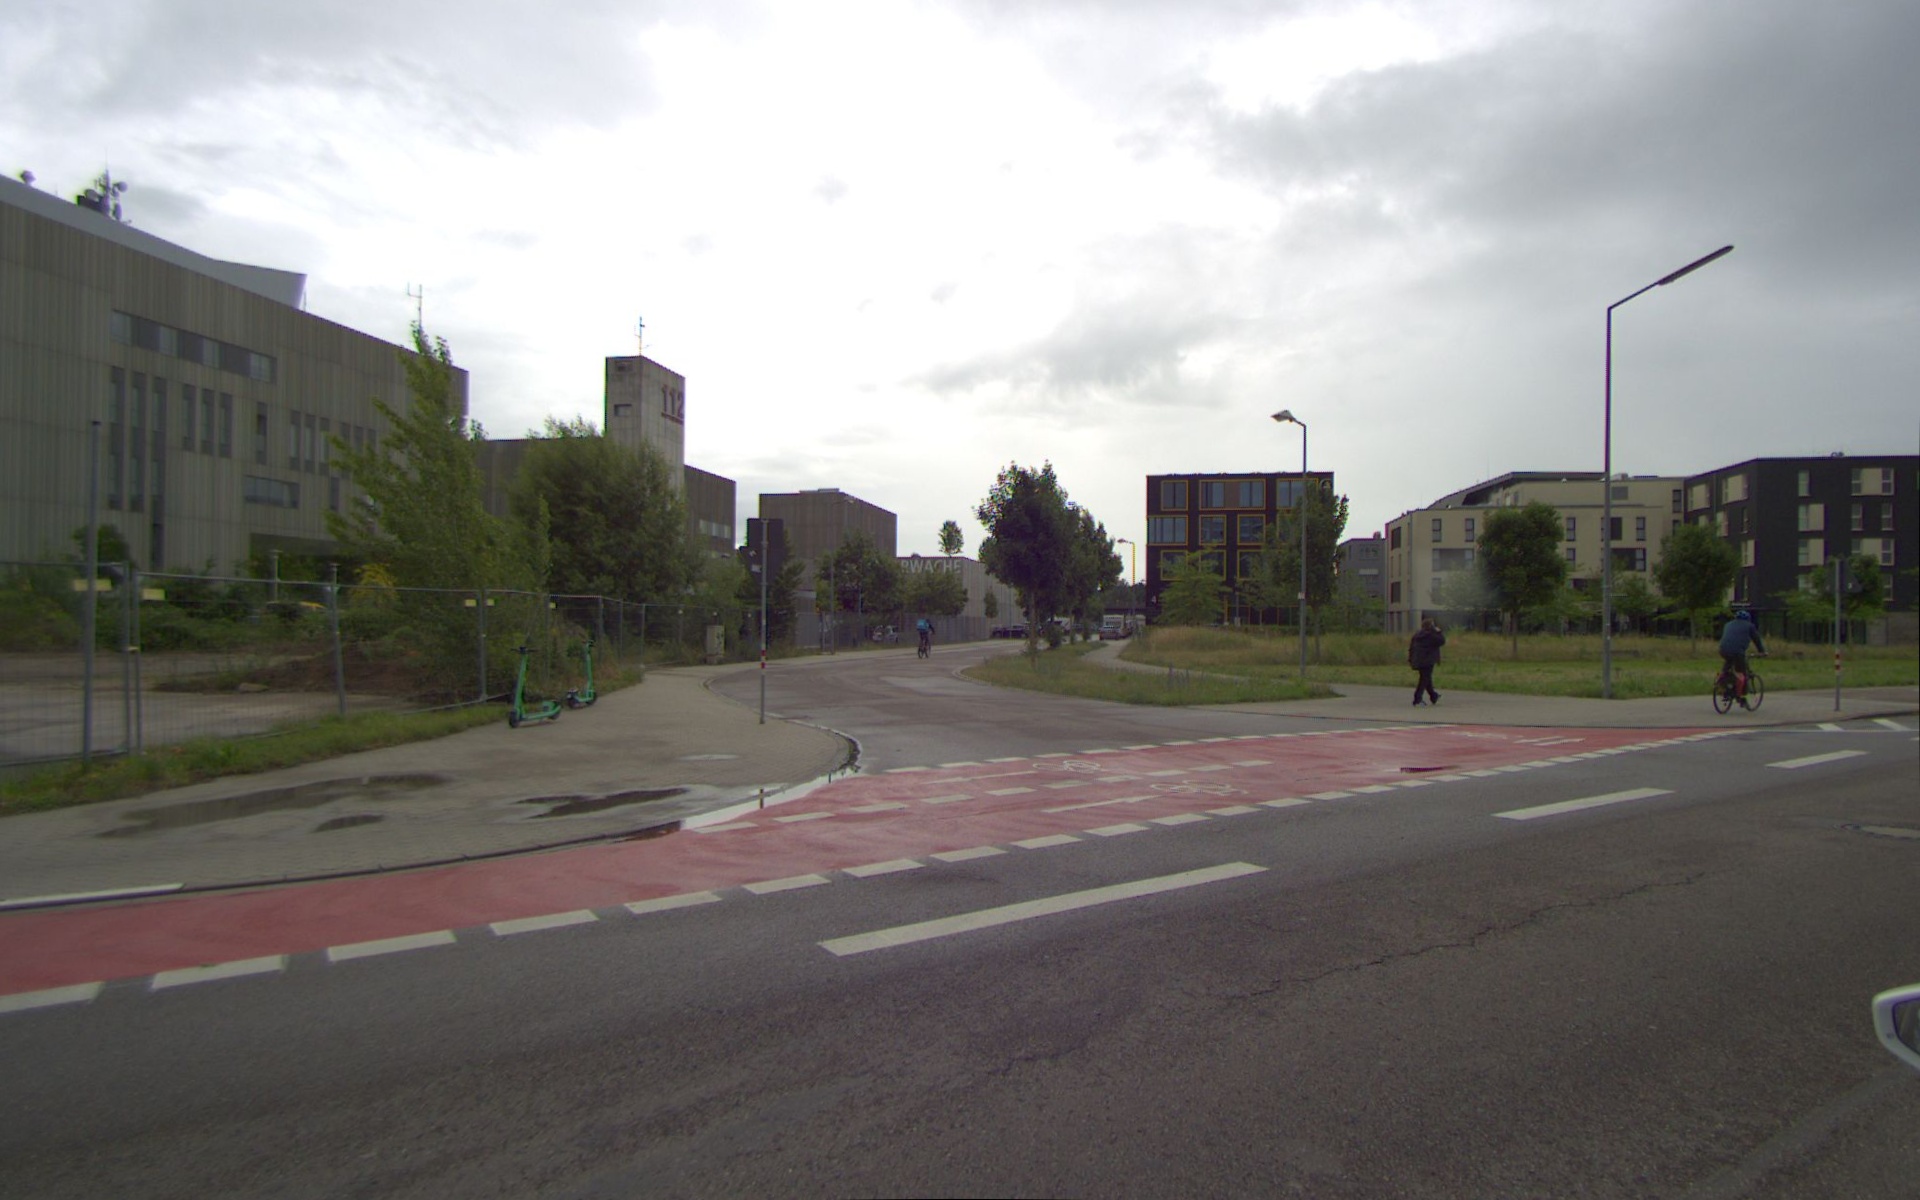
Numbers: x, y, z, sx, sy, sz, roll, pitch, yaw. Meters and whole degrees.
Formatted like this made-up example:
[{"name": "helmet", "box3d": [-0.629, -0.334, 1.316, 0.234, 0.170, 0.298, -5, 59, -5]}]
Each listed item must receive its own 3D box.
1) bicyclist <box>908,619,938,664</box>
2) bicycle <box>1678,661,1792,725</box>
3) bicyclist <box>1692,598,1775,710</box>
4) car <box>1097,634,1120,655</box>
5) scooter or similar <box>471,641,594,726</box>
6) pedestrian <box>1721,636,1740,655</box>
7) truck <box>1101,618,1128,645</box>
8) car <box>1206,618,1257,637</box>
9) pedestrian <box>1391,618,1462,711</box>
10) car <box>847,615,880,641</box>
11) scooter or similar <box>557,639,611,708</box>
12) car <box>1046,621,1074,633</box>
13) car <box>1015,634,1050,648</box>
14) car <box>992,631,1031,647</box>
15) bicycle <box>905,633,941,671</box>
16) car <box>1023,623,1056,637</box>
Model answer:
[{"name": "bicyclist", "box3d": [-1.643, 1.827, 44.469, 1.055, 1.924, 1.403, -1, -1, 9]}, {"name": "bicycle", "box3d": [14.620, 1.718, 18.931, 2.441, 1.066, 0.879, 0, -1, -31]}, {"name": "bicyclist", "box3d": [14.567, 0.991, 18.919, 1.164, 2.040, 0.857, 0, -1, -31]}, {"name": "car", "box3d": [14.559, 4.316, 98.276, 2.162, 1.888, 5.102, -1, -1, 9]}, {"name": "scooter or similar", "box3d": [-6.414, 1.216, 15.201, 0.644, 1.157, 1.904, 1, -1, 15]}, {"name": "pedestrian", "box3d": [67.155, 3.983, 87.538, 0.859, 1.591, 0.953, 0, -1, -6]}, {"name": "truck", "box3d": [16.593, 3.367, 107.776, 2.782, 2.742, 7.324, -1, -1, 9]}, {"name": "car", "box3d": [23.177, 2.339, 85.865, 3.919, 1.543, 2.002, -1, -3, 6]}, {"name": "pedestrian", "box3d": [9.360, 1.271, 20.156, 1.066, 1.806, 0.838, 0, -1, -34]}, {"name": "car", "box3d": [-7.795, 2.273, 81.440, 1.959, 2.040, 4.003, -1, -1, 6]}, {"name": "scooter or similar", "box3d": [-6.723, 1.294, 18.008, 0.403, 1.157, 1.338, 2, -1, 0]}, {"name": "car", "box3d": [14.701, 4.005, 147.855, 4.170, 1.795, 2.001, 0, -1, 4]}, {"name": "car", "box3d": [8.893, 4.981, 122.849, 4.170, 1.595, 2.001, 0, -1, 4]}, {"name": "car", "box3d": [5.424, 4.109, 105.035, 3.919, 1.543, 2.002, -1, -3, 6]}, {"name": "bicycle", "box3d": [-1.621, 2.280, 44.489, 1.064, 1.605, 2.502, -1, -1, 10]}, {"name": "car", "box3d": [10.289, 3.920, 130.379, 4.170, 1.795, 2.001, 0, -1, 4]}]
